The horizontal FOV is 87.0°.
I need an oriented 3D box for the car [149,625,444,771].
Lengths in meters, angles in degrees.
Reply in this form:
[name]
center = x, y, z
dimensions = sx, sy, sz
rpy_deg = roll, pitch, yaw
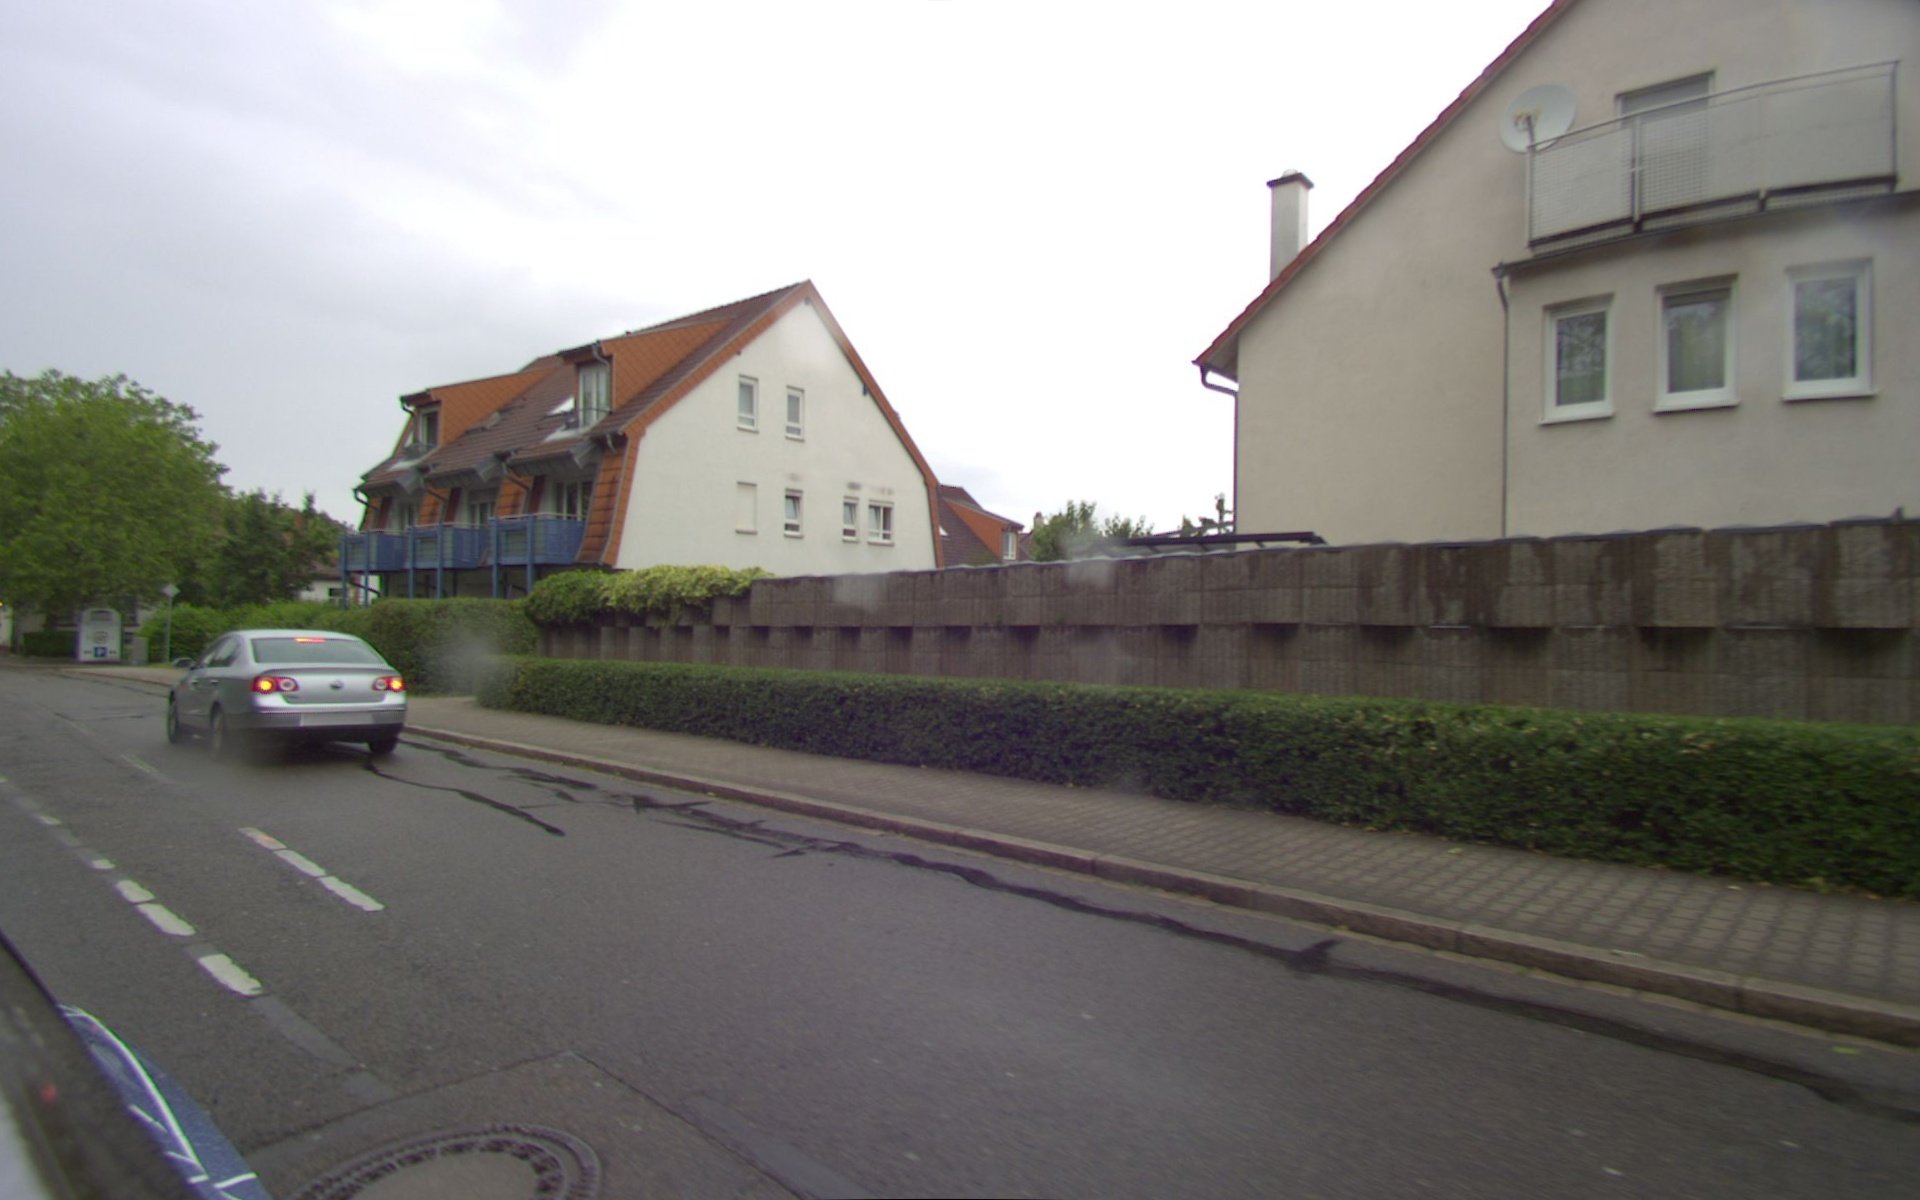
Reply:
[car]
center = -8.158, 1.069, 12.270
dimensions = 4.486, 1.431, 1.971
rpy_deg = -2, -4, 43
